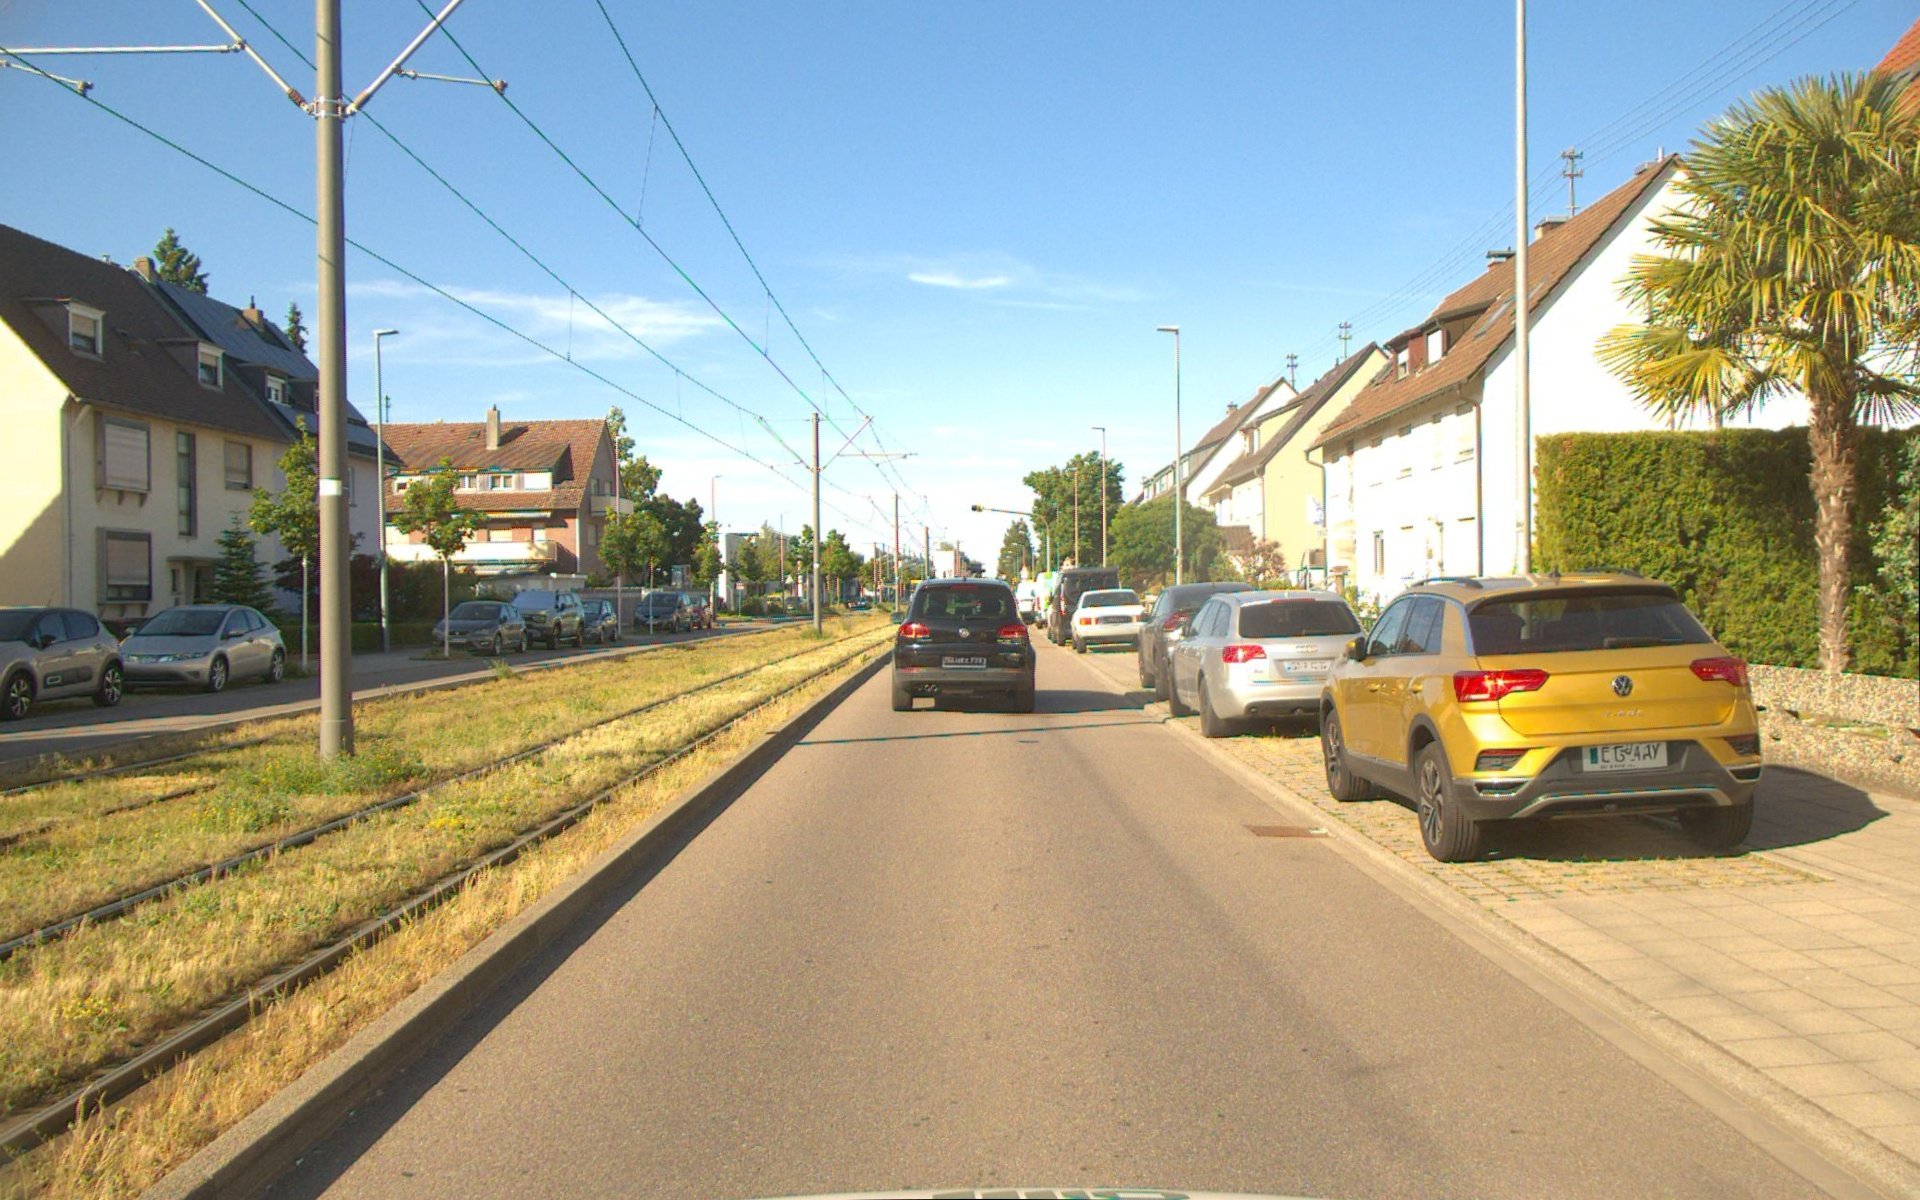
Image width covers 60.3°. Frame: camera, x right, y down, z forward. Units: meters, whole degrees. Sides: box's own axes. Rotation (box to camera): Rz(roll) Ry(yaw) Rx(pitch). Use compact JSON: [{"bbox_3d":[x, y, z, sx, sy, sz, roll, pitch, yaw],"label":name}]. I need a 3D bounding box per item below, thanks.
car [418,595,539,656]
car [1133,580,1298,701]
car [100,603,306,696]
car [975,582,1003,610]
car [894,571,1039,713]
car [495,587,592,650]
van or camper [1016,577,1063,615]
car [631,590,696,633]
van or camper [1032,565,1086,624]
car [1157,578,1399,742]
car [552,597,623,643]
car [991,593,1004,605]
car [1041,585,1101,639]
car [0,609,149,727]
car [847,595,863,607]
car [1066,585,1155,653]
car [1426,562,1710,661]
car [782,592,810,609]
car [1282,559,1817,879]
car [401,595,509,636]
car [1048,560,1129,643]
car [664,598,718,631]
[{"bbox_3d":[-13.168,0.667,45.511,1.920,1.567,4.557,0,0,1],"label":"car"},{"bbox_3d":[3.563,0.502,23.846,1.740,1.525,4.729,-1,1,1],"label":"car"},{"bbox_3d":[-13.296,0.815,29.355,1.654,1.501,4.442,0,0,-1],"label":"car"},{"bbox_3d":[1.984,-0.261,113.686,1.595,1.860,4.128,-1,0,-3],"label":"car"},{"bbox_3d":[0.049,0.508,21.930,1.739,1.699,3.999,0,0,-1],"label":"car"},{"bbox_3d":[-12.923,0.544,51.582,1.709,1.855,4.842,1,0,1],"label":"car"},{"bbox_3d":[4.411,-0.243,90.958,1.984,1.990,5.299,-1,0,9],"label":"van or camper"},{"bbox_3d":[-12.593,0.456,70.551,1.782,1.714,4.847,1,0,1],"label":"car"},{"bbox_3d":[4.153,-0.232,70.099,1.952,2.310,6.305,-3,0,1],"label":"van or camper"},{"bbox_3d":[3.341,0.546,18.259,1.712,1.472,4.699,-2,1,0],"label":"car"},{"bbox_3d":[-12.942,0.675,57.645,1.642,1.517,4.049,1,0,-1],"label":"car"},{"bbox_3d":[5.317,-0.155,234.038,1.739,1.699,3.999,-1,0,-1],"label":"car"},{"bbox_3d":[3.670,0.368,55.261,1.690,1.674,4.319,-2,0,1],"label":"car"},{"bbox_3d":[-13.322,0.895,23.357,1.654,1.498,4.314,0,0,-1],"label":"car"},{"bbox_3d":[-13.923,0.134,219.937,1.653,1.413,4.389,-3,0,3],"label":"car"},{"bbox_3d":[3.658,0.412,40.954,1.814,1.469,5.615,-3,0,2],"label":"car"},{"bbox_3d":[10.956,0.200,30.026,4.326,1.684,2.195,-1,0,-3],"label":"car"},{"bbox_3d":[-15.520,0.047,156.596,1.772,1.486,4.320,0,0,5],"label":"car"},{"bbox_3d":[3.523,0.606,11.005,1.768,1.586,4.926,-2,0,0],"label":"car"},{"bbox_3d":[-18.933,0.583,62.122,3.560,1.487,1.690,0,0,-4],"label":"car"},{"bbox_3d":[3.632,0.021,47.613,1.919,2.181,5.336,-2,0,1],"label":"car"},{"bbox_3d":[-12.421,0.650,76.562,1.660,1.429,4.079,-1,0,2],"label":"car"}]
